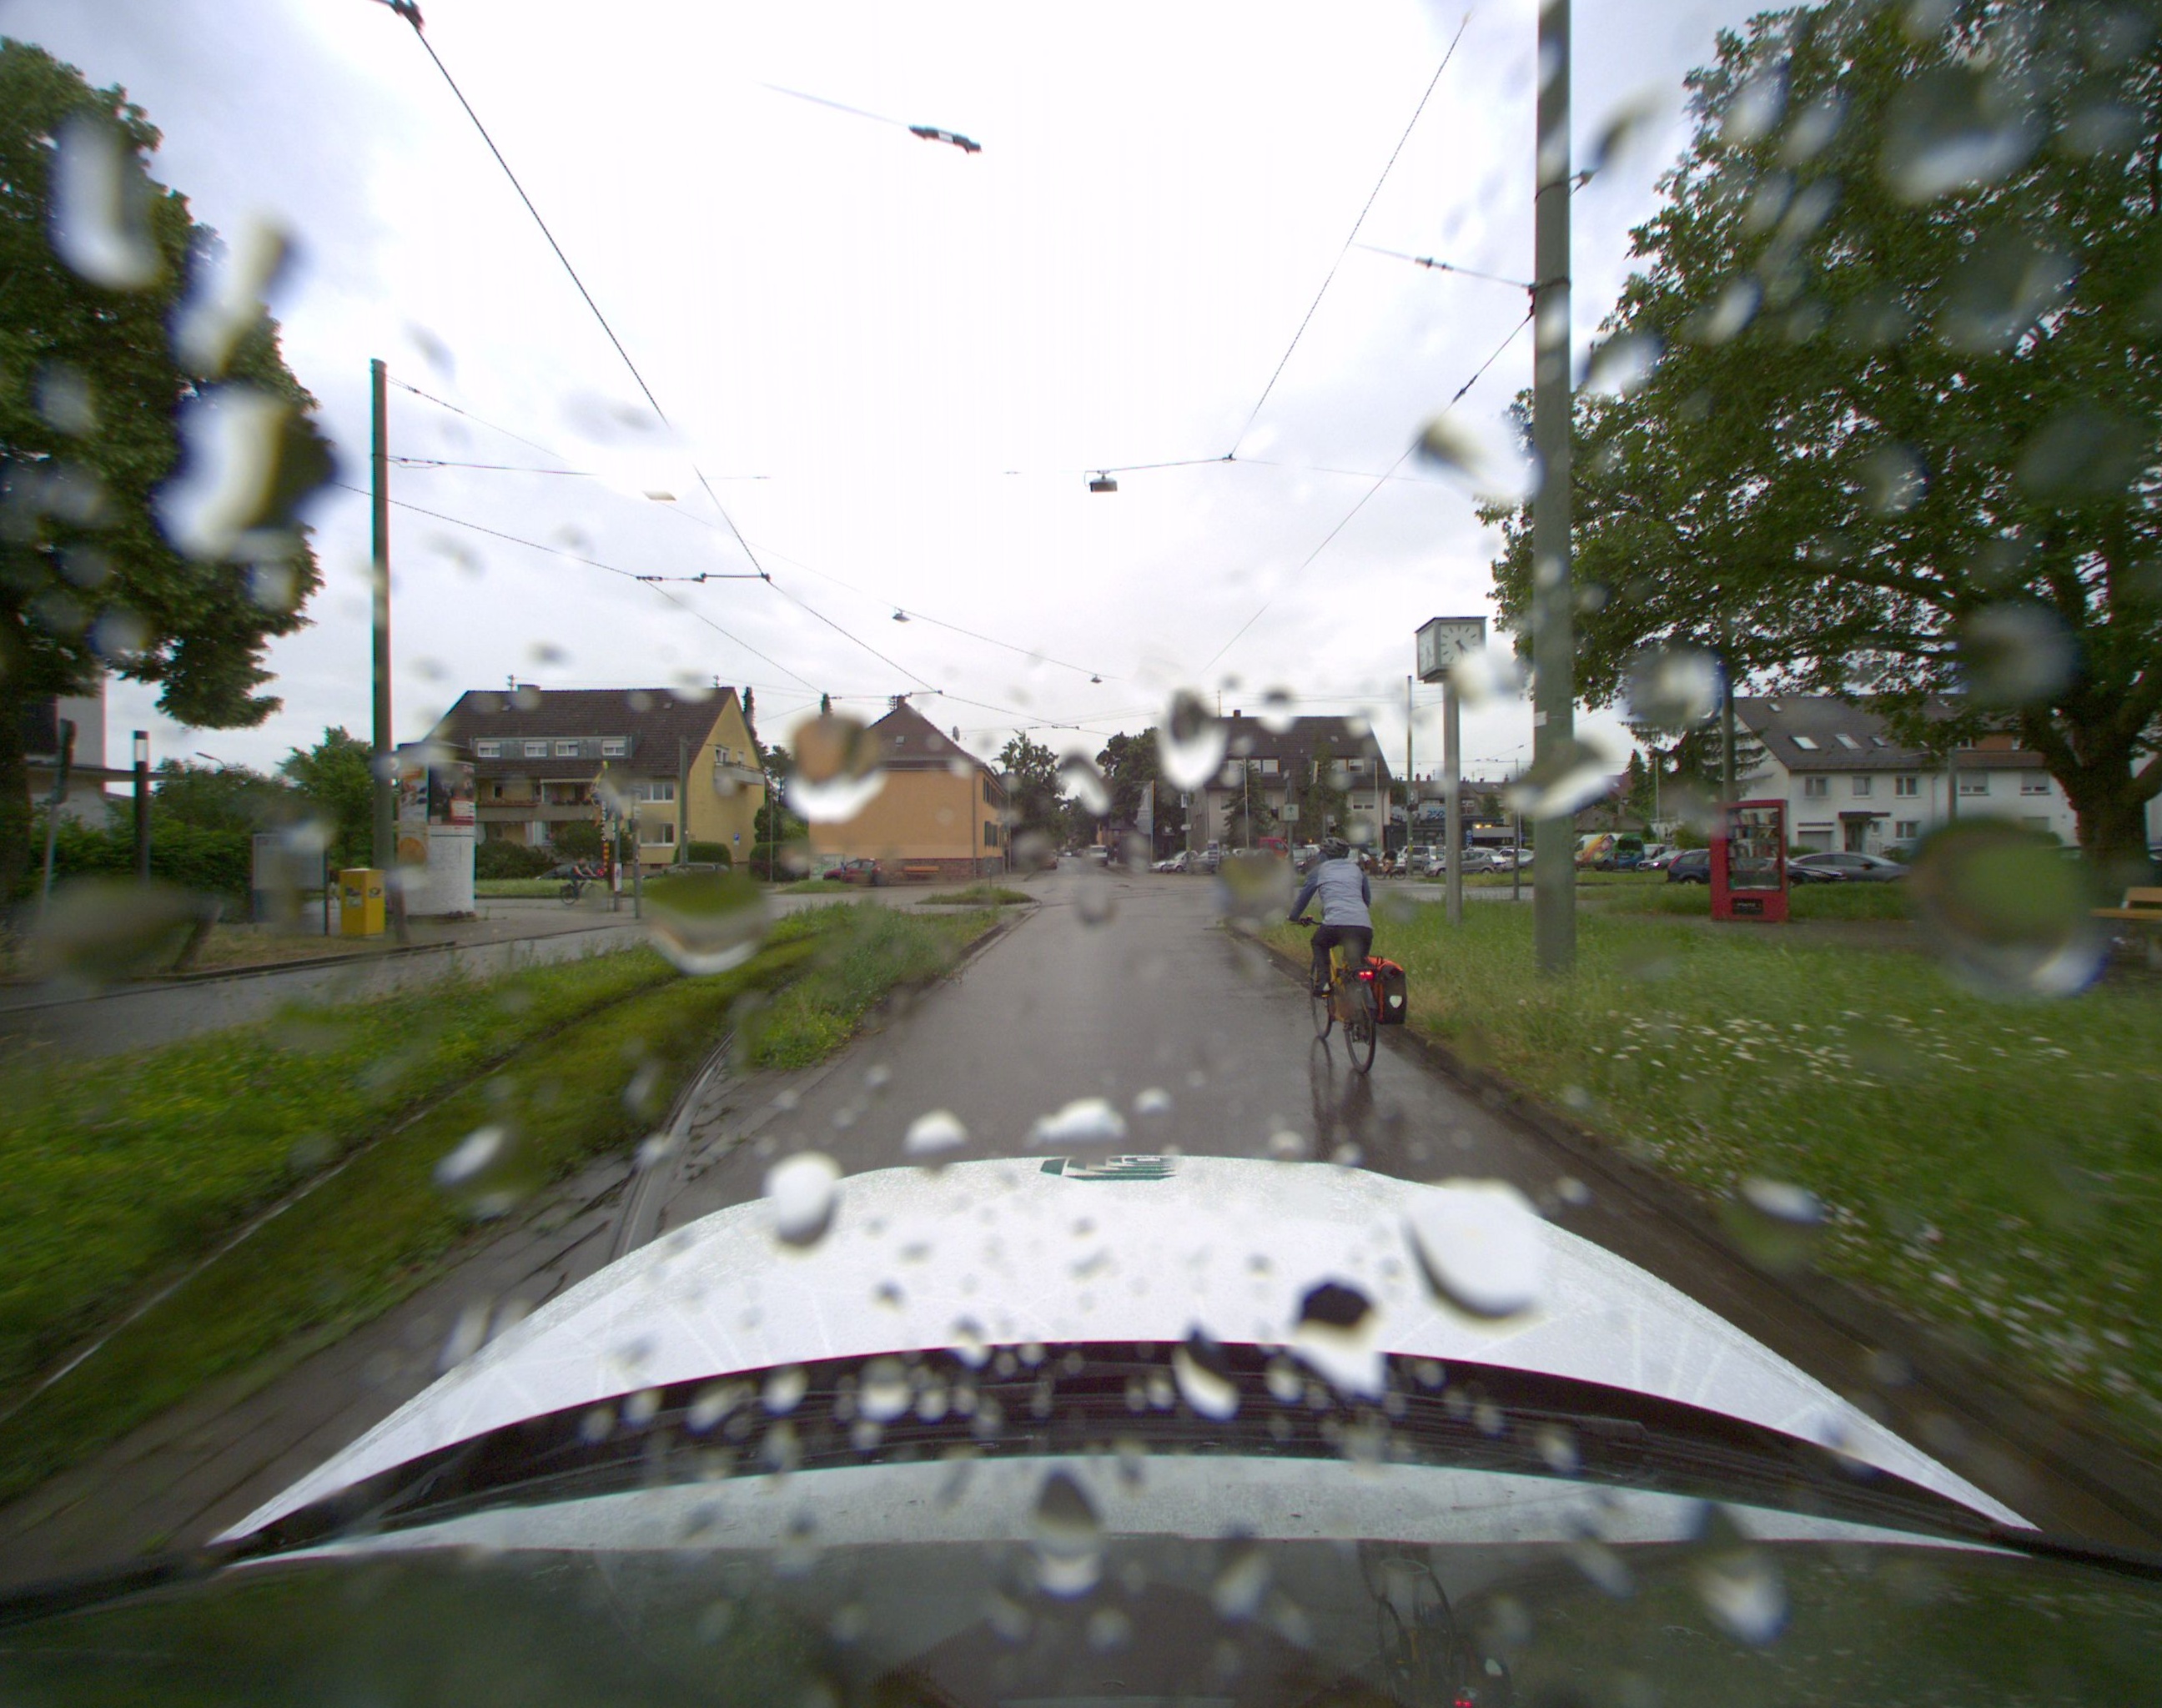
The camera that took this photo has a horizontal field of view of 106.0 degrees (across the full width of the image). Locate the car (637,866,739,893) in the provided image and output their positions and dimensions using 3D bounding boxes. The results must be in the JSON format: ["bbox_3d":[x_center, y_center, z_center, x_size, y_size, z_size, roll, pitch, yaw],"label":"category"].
[{"bbox_3d":[-21.005,1.349,43.660,4.478,1.396,1.966,0,0,-2],"label":"car"}]

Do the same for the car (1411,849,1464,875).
[{"bbox_3d":[22.489,0.493,51.544,1.795,1.578,3.874,-1,0,2],"label":"car"}]

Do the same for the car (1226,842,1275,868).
[{"bbox_3d":[10.898,0.023,52.132,1.784,1.578,3.896,-1,0,33],"label":"car"}]

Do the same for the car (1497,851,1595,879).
[{"bbox_3d":[25.389,0.591,44.532,4.361,1.339,1.722,2,0,-1],"label":"car"}]

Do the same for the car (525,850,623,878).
[{"bbox_3d":[-26.826,0.516,43.182,3.977,1.332,1.758,1,0,-3],"label":"car"}]

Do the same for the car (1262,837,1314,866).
[{"bbox_3d":[13.126,-0.152,51.429,1.974,1.717,4.025,-1,0,33],"label":"car"}]

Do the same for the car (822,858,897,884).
[{"bbox_3d":[-11.997,0.918,44.337,3.596,1.339,1.721,1,0,-3],"label":"car"}]

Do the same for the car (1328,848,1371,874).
[{"bbox_3d":[16.971,0.424,51.349,1.810,1.504,4.083,1,0,29],"label":"car"}]

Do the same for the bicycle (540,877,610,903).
[{"bbox_3d":[-18.385,1.312,29.636,1.974,0.912,0.823,0,-1,-3],"label":"bicycle"}]

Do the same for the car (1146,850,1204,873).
[{"bbox_3d":[6.953,0.573,60.133,3.871,1.578,1.796,-1,0,-20],"label":"car"}]

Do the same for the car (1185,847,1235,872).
[{"bbox_3d":[8.544,0.348,53.519,1.784,1.578,3.896,-1,0,33],"label":"car"}]

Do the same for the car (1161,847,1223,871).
[{"bbox_3d":[7.762,0.336,57.021,3.871,1.578,1.796,-1,0,-20],"label":"car"}]

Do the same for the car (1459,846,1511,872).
[{"bbox_3d":[25.555,0.302,51.604,1.709,1.573,3.621,1,0,4],"label":"car"}]

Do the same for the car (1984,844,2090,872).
[{"bbox_3d":[52.491,0.225,44.760,3.917,1.423,1.606,1,0,0],"label":"car"}]

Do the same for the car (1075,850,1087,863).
[{"bbox_3d":[-0.024,0.336,126.634,1.823,2.013,3.999,1,0,-1],"label":"car"}]

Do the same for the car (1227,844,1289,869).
[{"bbox_3d":[12.468,0.186,57.265,3.932,1.598,2.010,-1,-1,20],"label":"car"}]

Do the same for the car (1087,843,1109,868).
[{"bbox_3d":[1.859,0.144,88.921,2.147,2.572,4.130,1,0,-2],"label":"car"}]

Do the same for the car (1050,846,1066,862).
[{"bbox_3d":[-3.140,0.006,110.627,1.987,2.013,4.000,1,0,0],"label":"car"}]

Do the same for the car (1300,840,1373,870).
[{"bbox_3d":[17.573,0.080,56.089,4.415,2.014,2.001,-1,-1,2],"label":"car"}]

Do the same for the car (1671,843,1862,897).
[{"bbox_3d":[20.972,0.457,25.095,1.809,1.476,4.138,-1,0,-29],"label":"car"}]

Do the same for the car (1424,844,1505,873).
[{"bbox_3d":[21.000,0.243,44.709,3.622,1.504,1.722,1,0,-2],"label":"car"}]

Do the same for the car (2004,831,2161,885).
[{"bbox_3d":[30.818,0.168,24.723,1.761,1.506,3.478,1,-3,-35],"label":"car"}]

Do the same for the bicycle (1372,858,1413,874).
[{"bbox_3d":[16.400,0.615,42.865,1.808,0.786,0.942,-1,0,-1],"label":"bicycle"}]

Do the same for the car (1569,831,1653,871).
[{"bbox_3d":[34.402,-0.203,53.027,2.138,2.406,5.149,1,0,0],"label":"car"}]

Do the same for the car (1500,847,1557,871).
[{"bbox_3d":[28.123,0.296,51.289,1.710,1.396,3.846,1,0,4],"label":"car"}]

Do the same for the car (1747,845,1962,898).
[{"bbox_3d":[23.800,0.490,25.293,1.807,1.476,4.512,-1,0,-25],"label":"car"}]

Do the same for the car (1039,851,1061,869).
[{"bbox_3d":[-2.920,0.558,76.700,1.988,1.618,3.997,-1,0,-2],"label":"car"}]

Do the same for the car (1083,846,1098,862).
[{"bbox_3d":[1.224,0.036,106.233,1.987,2.013,4.000,1,0,0],"label":"car"}]

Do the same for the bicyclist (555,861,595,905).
[{"bbox_3d":[-18.414,1.038,29.636,0.908,1.558,0.833,0,-1,-2],"label":"bicyclist"}]

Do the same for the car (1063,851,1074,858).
[{"bbox_3d":[-3.173,0.104,209.789,1.832,1.697,4.010,1,0,-16],"label":"car"}]

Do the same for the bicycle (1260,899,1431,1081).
[{"bbox_3d":[1.955,0.951,6.331,0.749,1.073,1.928,-2,0,3],"label":"bicycle"}]

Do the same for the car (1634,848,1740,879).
[{"bbox_3d":[30.952,0.492,41.676,3.975,1.476,1.999,-1,0,-1],"label":"car"}]

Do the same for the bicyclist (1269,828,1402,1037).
[{"bbox_3d":[1.934,0.568,6.299,0.748,1.485,0.847,-2,0,2],"label":"bicyclist"}]

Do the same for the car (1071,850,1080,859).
[{"bbox_3d":[-1.324,0.183,191.502,1.823,2.013,3.997,1,0,-2],"label":"car"}]

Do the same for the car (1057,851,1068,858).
[{"bbox_3d":[-4.889,0.054,215.218,1.832,1.697,4.010,1,0,-16],"label":"car"}]

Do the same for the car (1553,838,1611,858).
[{"bbox_3d":[42.028,-0.499,68.337,4.449,1.580,1.781,-1,-1,-22],"label":"car"}]

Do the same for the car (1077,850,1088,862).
[{"bbox_3d":[0.200,0.303,146.100,1.823,2.013,3.997,1,0,-2],"label":"car"}]

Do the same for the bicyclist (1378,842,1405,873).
[{"bbox_3d":[16.336,0.201,42.854,1.036,1.598,0.949,-1,0,-1],"label":"bicyclist"}]

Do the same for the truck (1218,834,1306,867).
[{"bbox_3d":[13.331,-0.250,59.957,6.032,2.272,2.010,-1,-1,20],"label":"truck"}]

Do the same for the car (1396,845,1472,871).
[{"bbox_3d":[24.034,0.299,55.513,4.415,1.687,1.761,-1,-1,2],"label":"car"}]

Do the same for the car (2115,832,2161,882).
[{"bbox_3d":[34.324,0.037,24.423,1.832,1.501,3.955,1,-4,-36],"label":"car"}]

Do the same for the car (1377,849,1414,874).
[{"bbox_3d":[19.694,0.454,51.199,1.814,1.504,4.075,1,0,16],"label":"car"}]
